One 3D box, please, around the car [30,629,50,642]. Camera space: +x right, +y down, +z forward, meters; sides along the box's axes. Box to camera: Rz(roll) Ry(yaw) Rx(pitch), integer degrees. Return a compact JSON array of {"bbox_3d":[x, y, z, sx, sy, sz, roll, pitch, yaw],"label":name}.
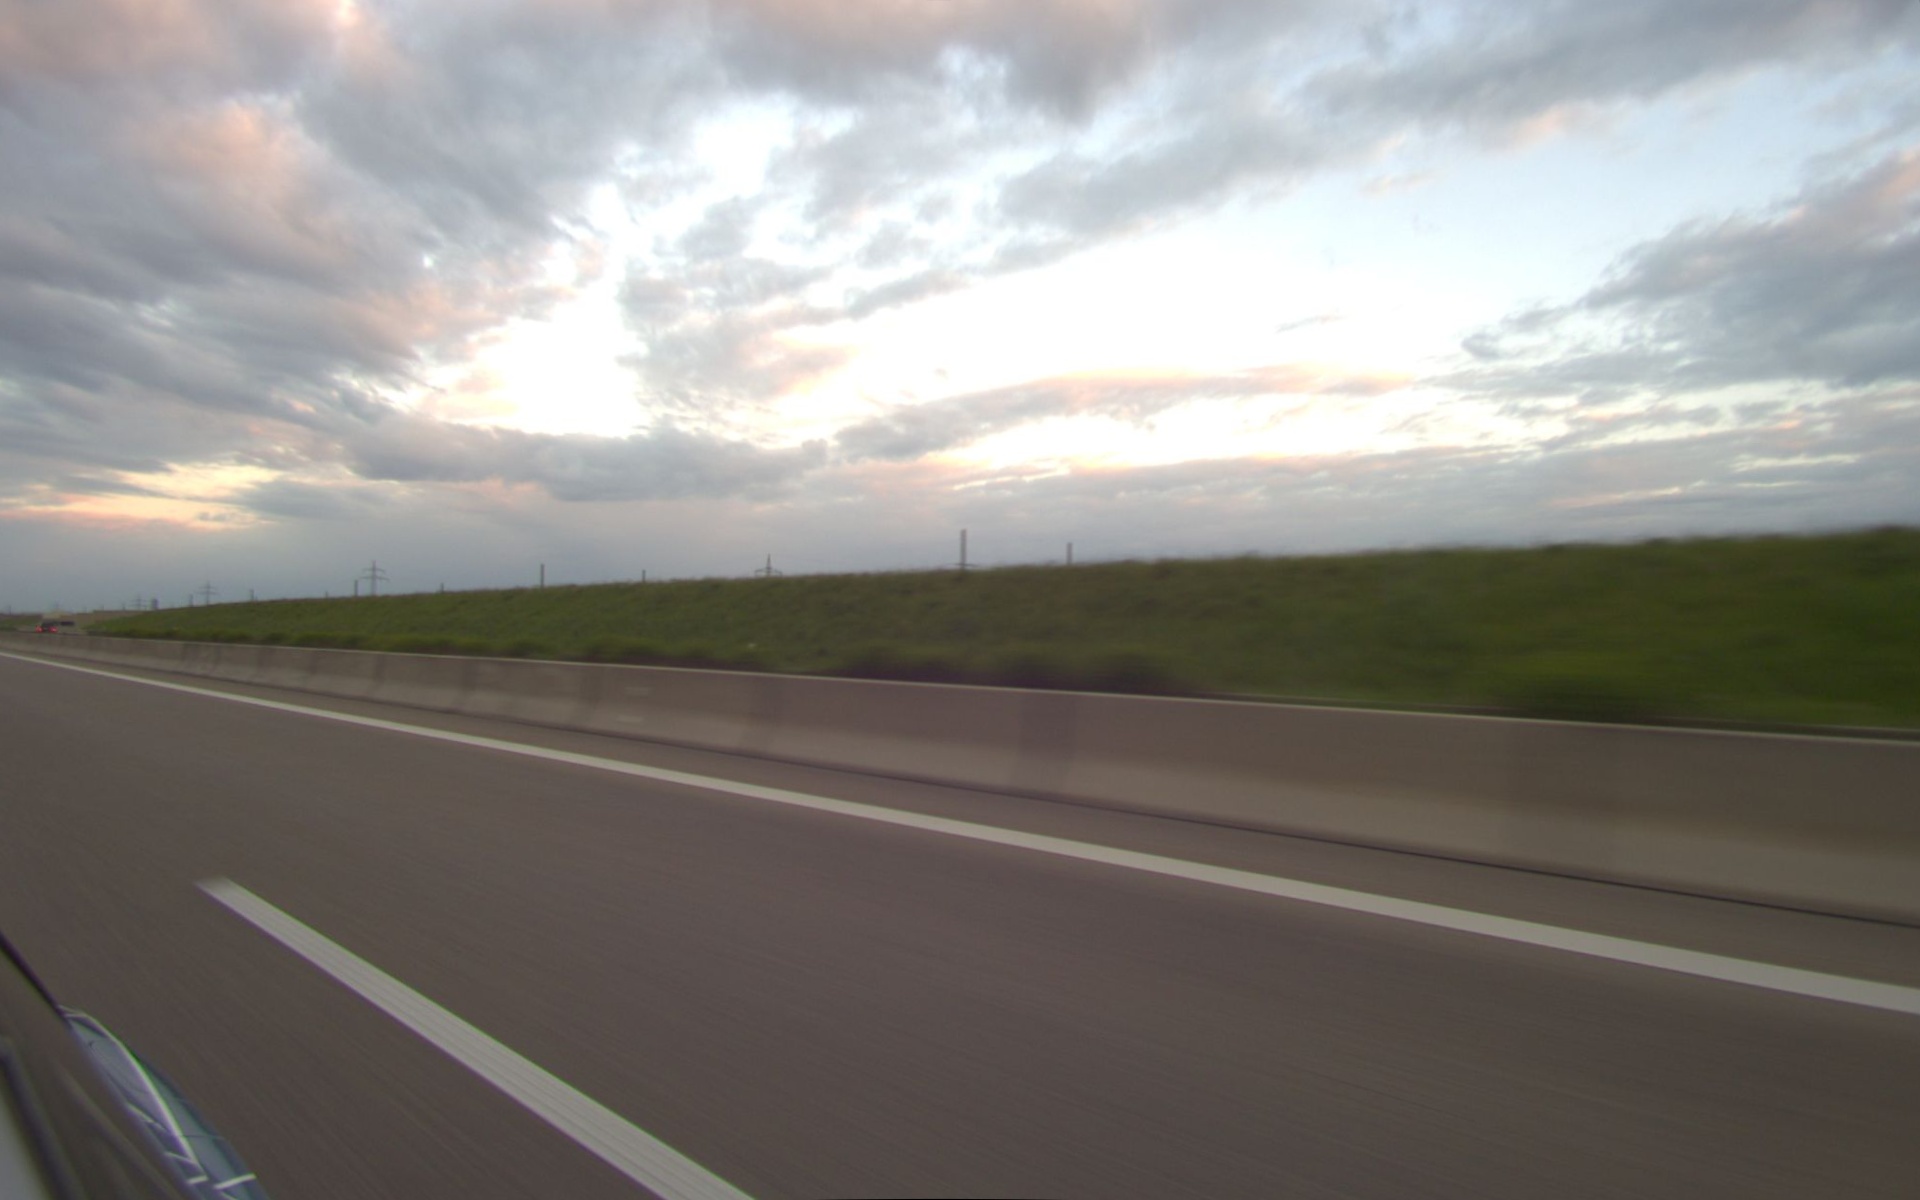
[{"bbox_3d":[-127.114,4.903,139.794,3.596,1.685,1.716,-1,-2,42],"label":"car"}]
